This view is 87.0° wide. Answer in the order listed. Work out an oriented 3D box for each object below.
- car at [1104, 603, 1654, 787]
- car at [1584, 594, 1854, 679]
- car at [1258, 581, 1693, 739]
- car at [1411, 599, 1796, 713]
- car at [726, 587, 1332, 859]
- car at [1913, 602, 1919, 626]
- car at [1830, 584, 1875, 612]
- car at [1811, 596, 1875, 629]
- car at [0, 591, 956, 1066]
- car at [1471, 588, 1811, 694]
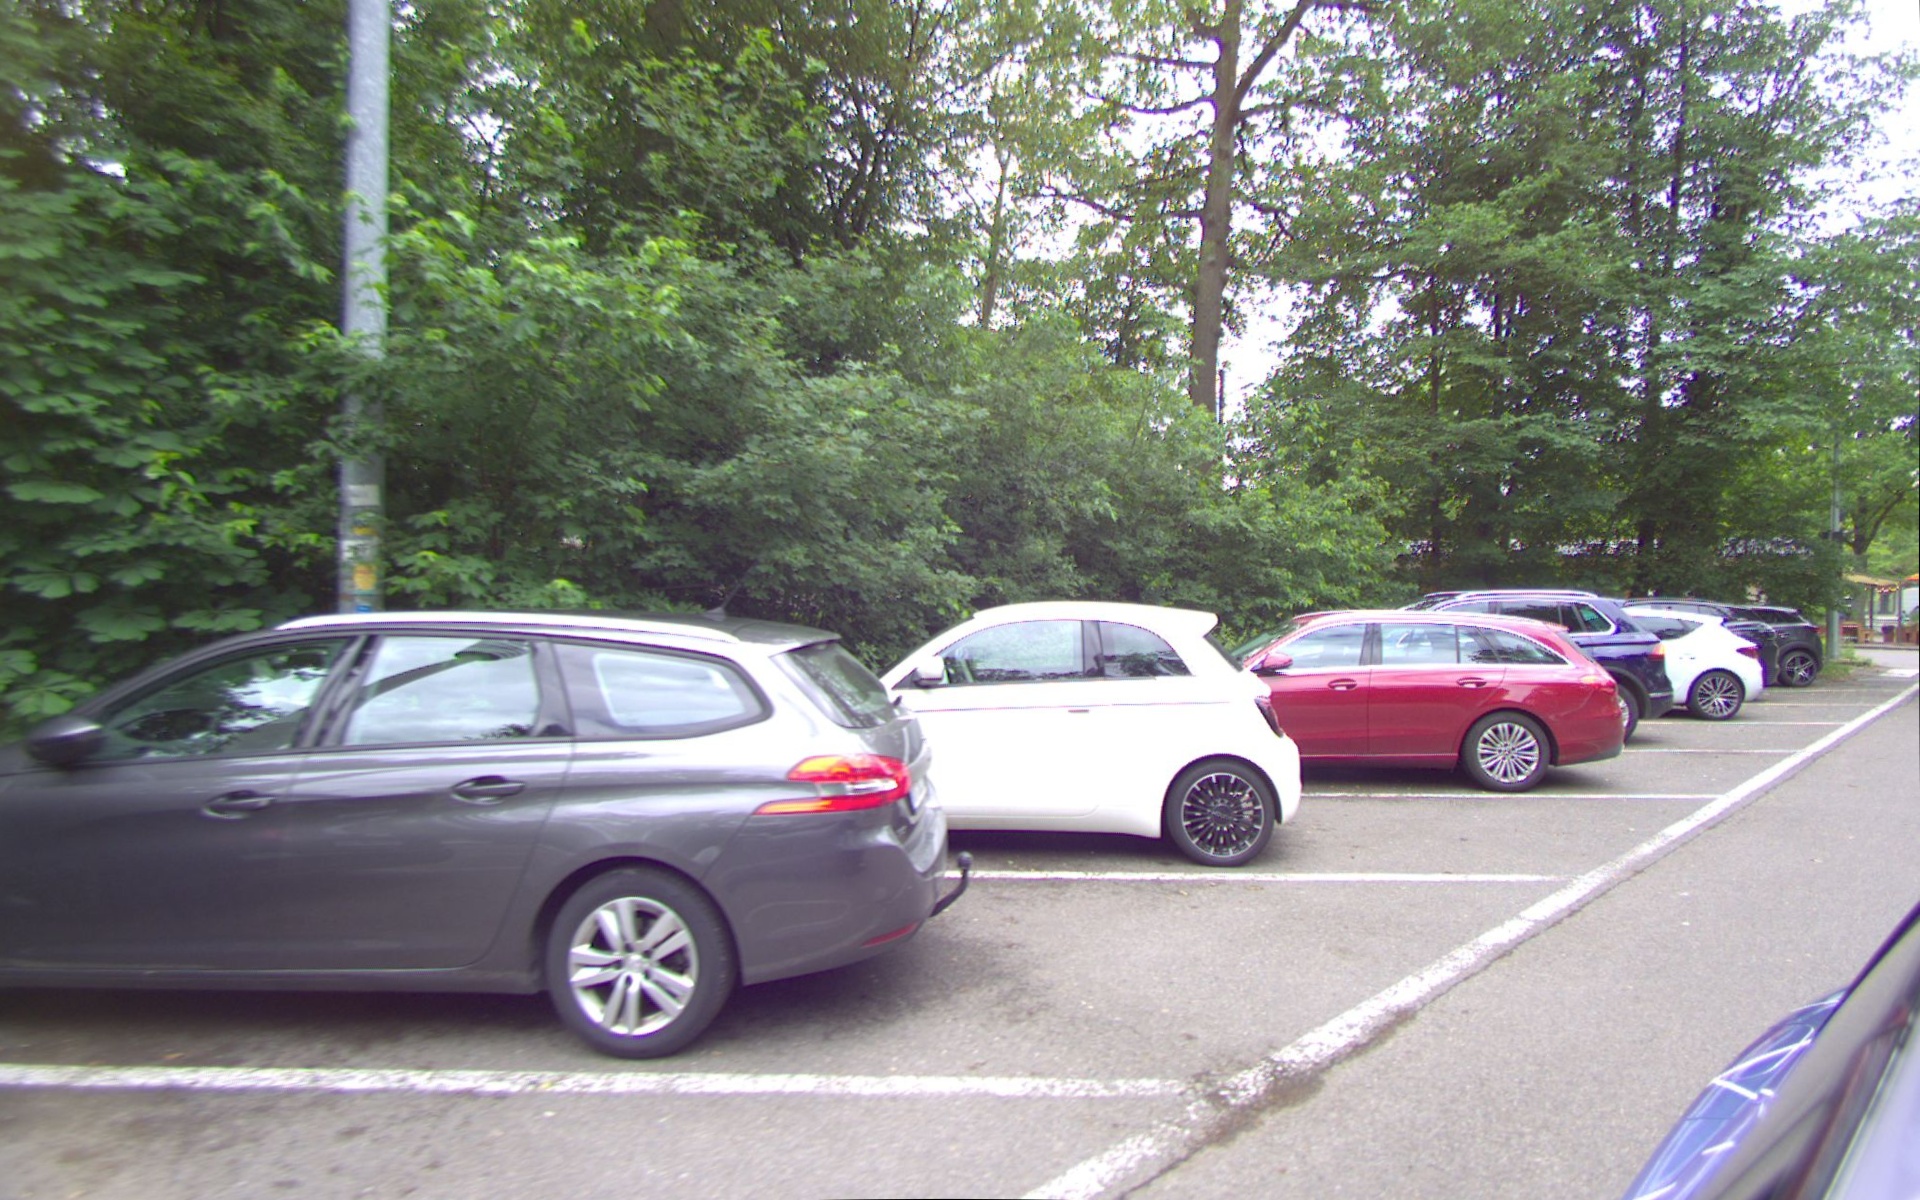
[{"bbox_3d":[3.456,0.754,9.180,4.224,1.432,1.923,0,0,8],"label":"car"},{"bbox_3d":[14.185,0.664,19.084,3.722,1.511,1.698,0,0,3],"label":"car"},{"bbox_3d":[5.693,0.633,11.677,4.049,1.638,1.838,0,0,7],"label":"car"},{"bbox_3d":[8.706,0.722,14.047,4.049,1.457,1.866,0,0,7],"label":"car"},{"bbox_3d":[0.428,0.690,6.761,3.520,1.524,1.732,0,0,6],"label":"car"},{"bbox_3d":[73.746,1.072,76.345,1.863,1.802,4.247,0,0,31],"label":"car"},{"bbox_3d":[69.798,-0.142,79.214,1.862,2.065,4.539,0,0,31],"label":"car"},{"bbox_3d":[44.860,0.608,51.517,1.987,1.571,3.950,0,0,34],"label":"car"},{"bbox_3d":[-2.126,0.710,4.228,4.112,1.476,1.803,0,0,4],"label":"car"},{"bbox_3d":[10.881,0.630,16.425,4.125,1.600,1.957,0,0,2],"label":"car"}]
